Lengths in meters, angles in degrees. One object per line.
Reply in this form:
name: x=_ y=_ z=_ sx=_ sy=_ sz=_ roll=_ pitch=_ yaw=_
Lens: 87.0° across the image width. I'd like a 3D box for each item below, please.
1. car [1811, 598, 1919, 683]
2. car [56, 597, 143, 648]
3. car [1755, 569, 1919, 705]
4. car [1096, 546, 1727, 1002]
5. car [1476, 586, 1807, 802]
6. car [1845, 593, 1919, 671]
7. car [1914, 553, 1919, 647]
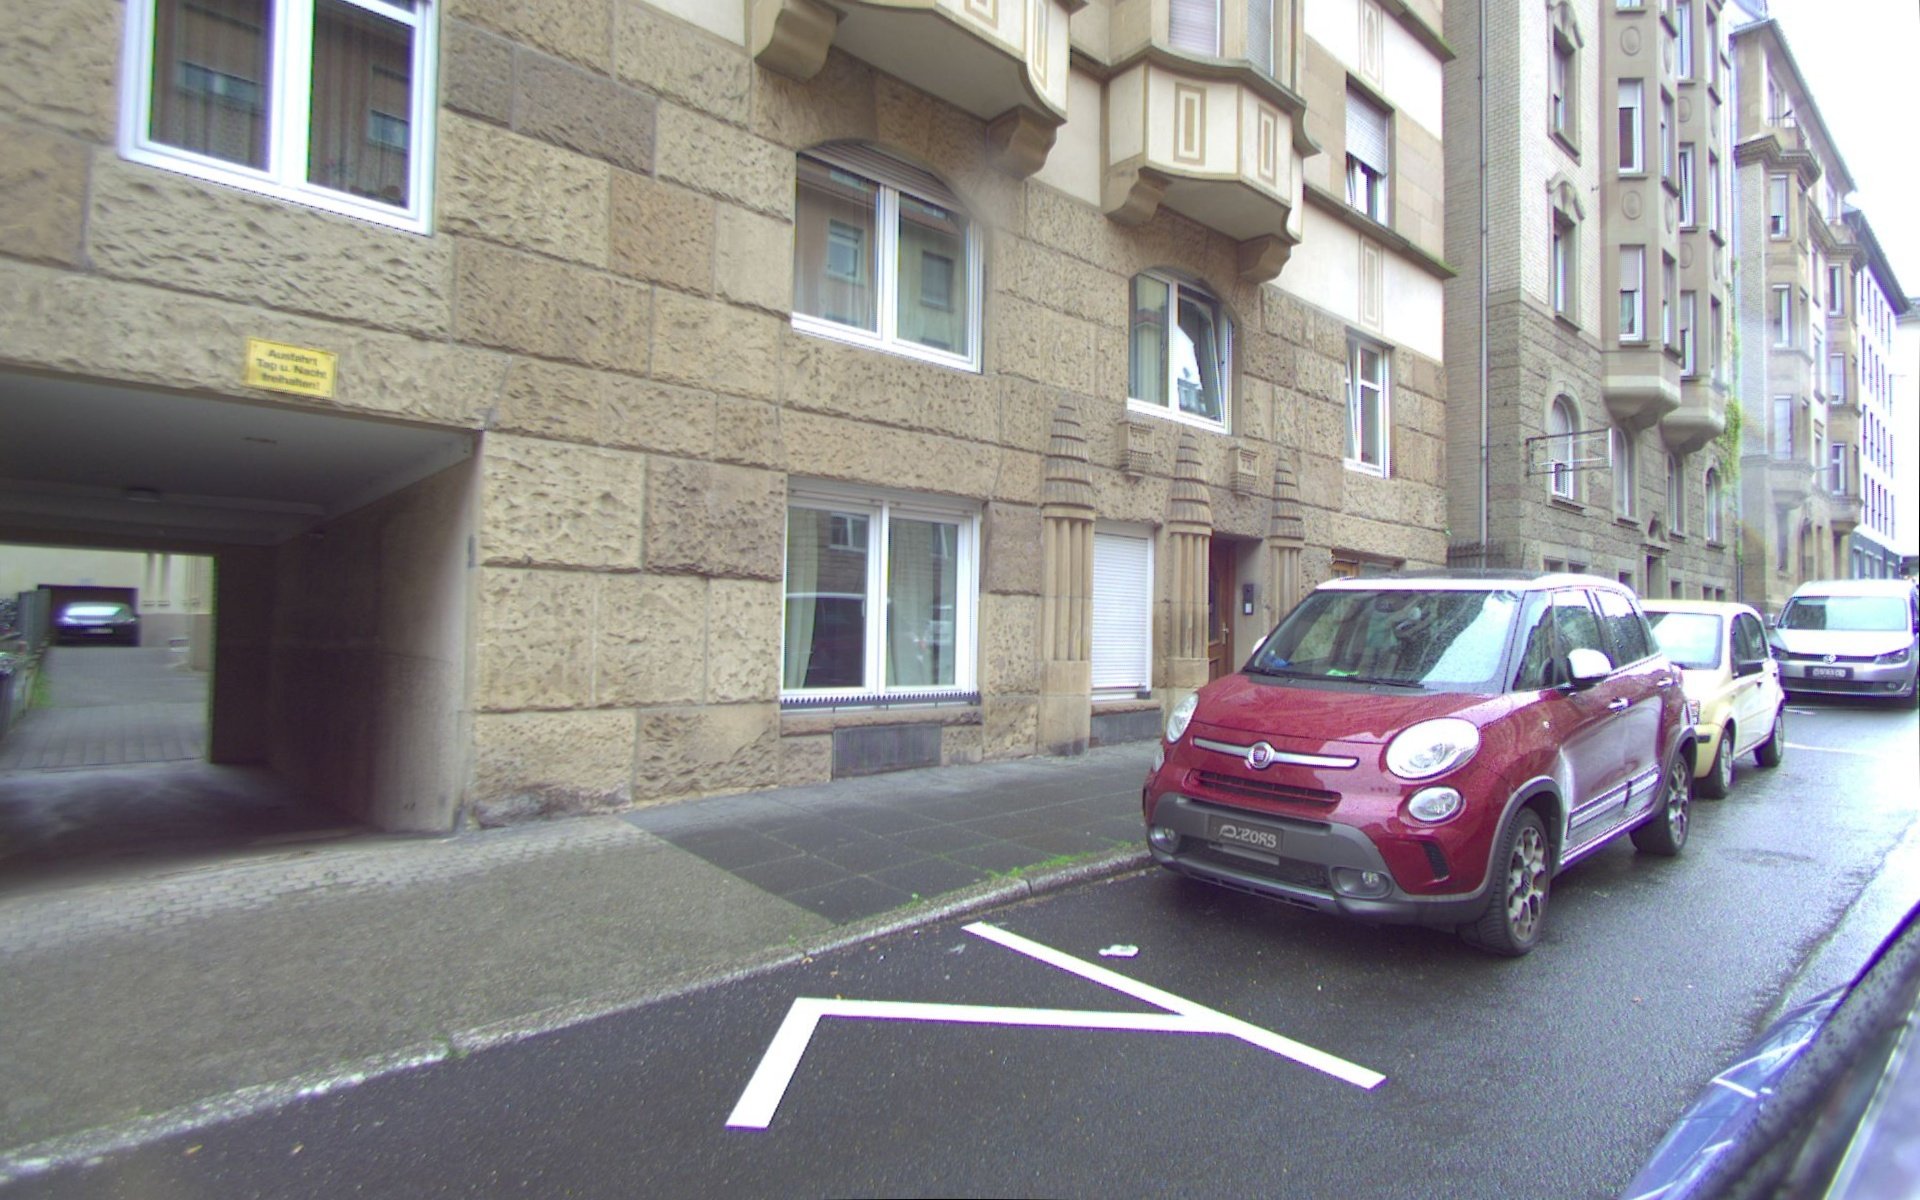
car: x=17.159 y=0.677 z=18.427 sx=3.912 sy=1.406 sz=1.929 roll=0 pitch=-1 yaw=-41
car: x=-25.094 y=0.597 z=29.470 sx=1.765 sy=1.363 sz=4.008 roll=-1 pitch=1 yaw=-43
car: x=13.618 y=0.485 z=15.291 sx=3.893 sy=1.791 sz=1.809 roll=0 pitch=0 yaw=-41
car: x=2.705 y=0.600 z=5.595 sx=3.932 sy=1.621 sz=1.772 roll=0 pitch=1 yaw=-42
car: x=6.129 y=0.673 z=8.972 sx=3.471 sy=1.530 sz=1.630 roll=0 pitch=-1 yaw=-42
car: x=20.359 y=0.624 z=21.388 sx=3.987 sy=1.544 sz=1.933 roll=0 pitch=-1 yaw=-41
car: x=29.160 y=-0.012 z=28.849 sx=6.042 sy=2.567 sz=1.991 roll=0 pitch=-1 yaw=-39
